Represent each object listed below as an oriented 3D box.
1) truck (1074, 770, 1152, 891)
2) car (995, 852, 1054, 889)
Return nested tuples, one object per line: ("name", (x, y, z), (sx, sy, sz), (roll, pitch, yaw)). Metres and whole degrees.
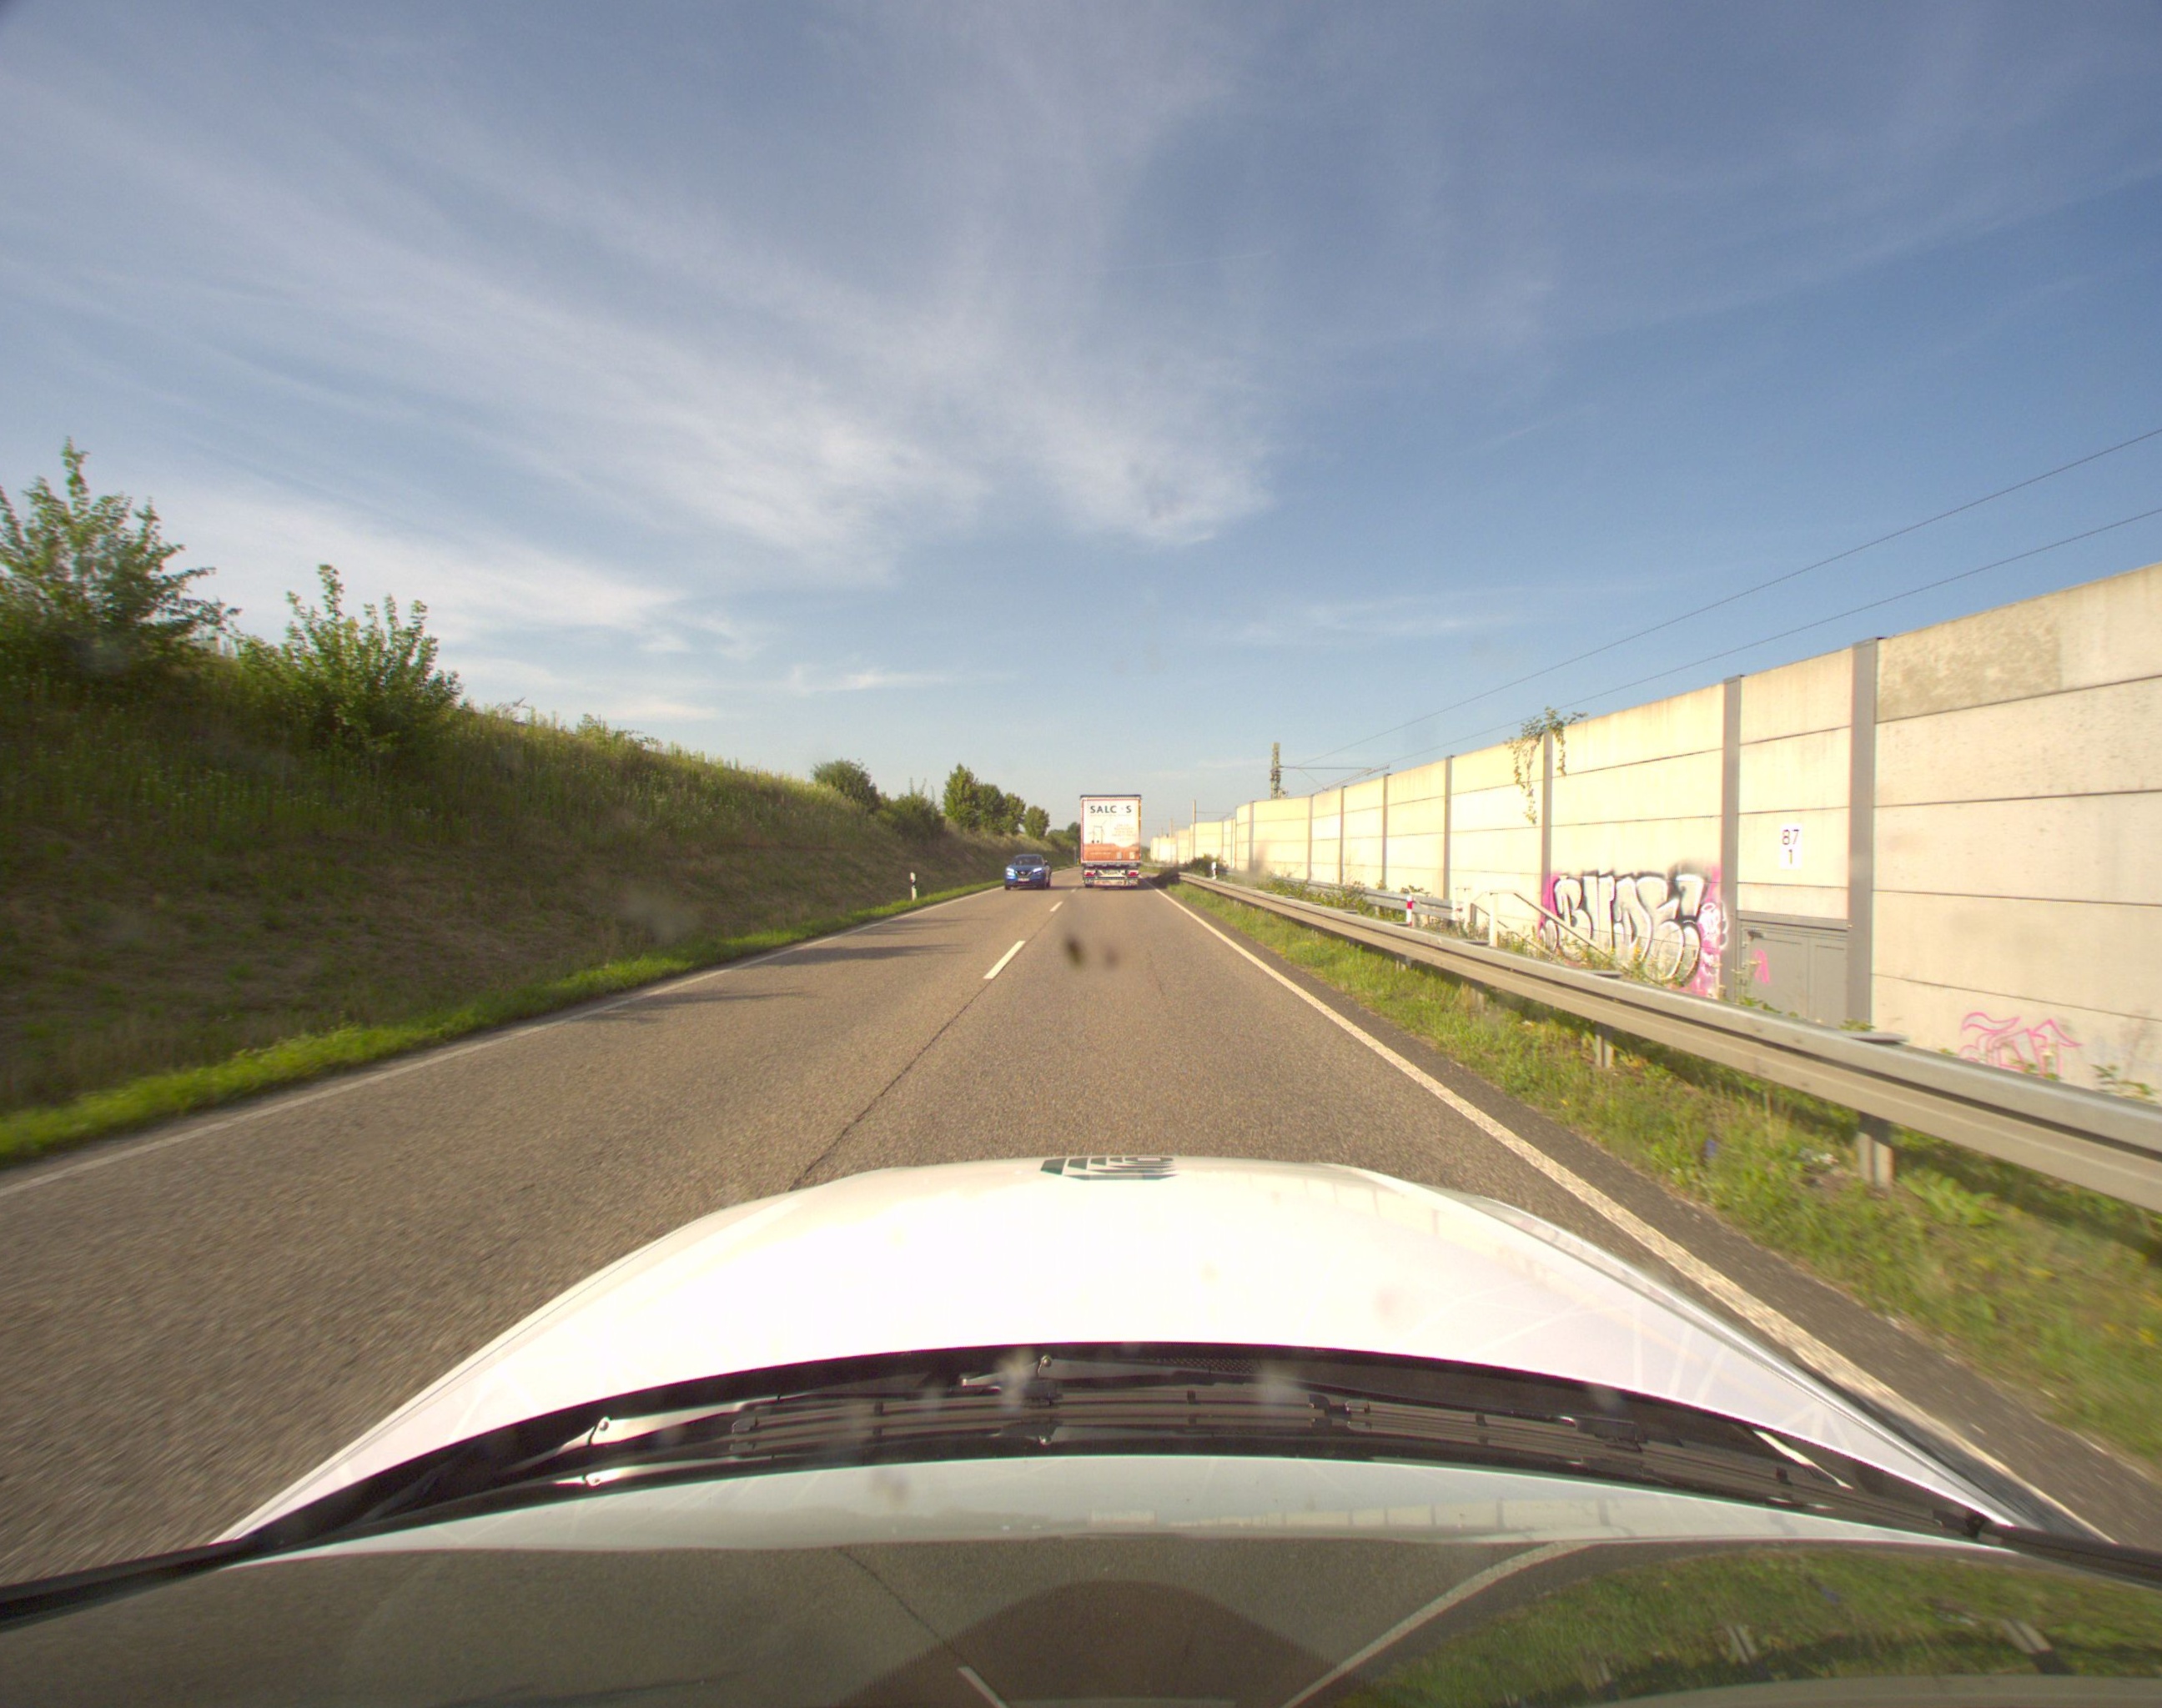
("truck", (1.555, -0.996, 40.342), (3.278, 5.090, 12.043), (0, 0, 2))
("car", (-2.509, 0.701, 37.564), (2.133, 1.573, 5.342), (0, 0, 2))
